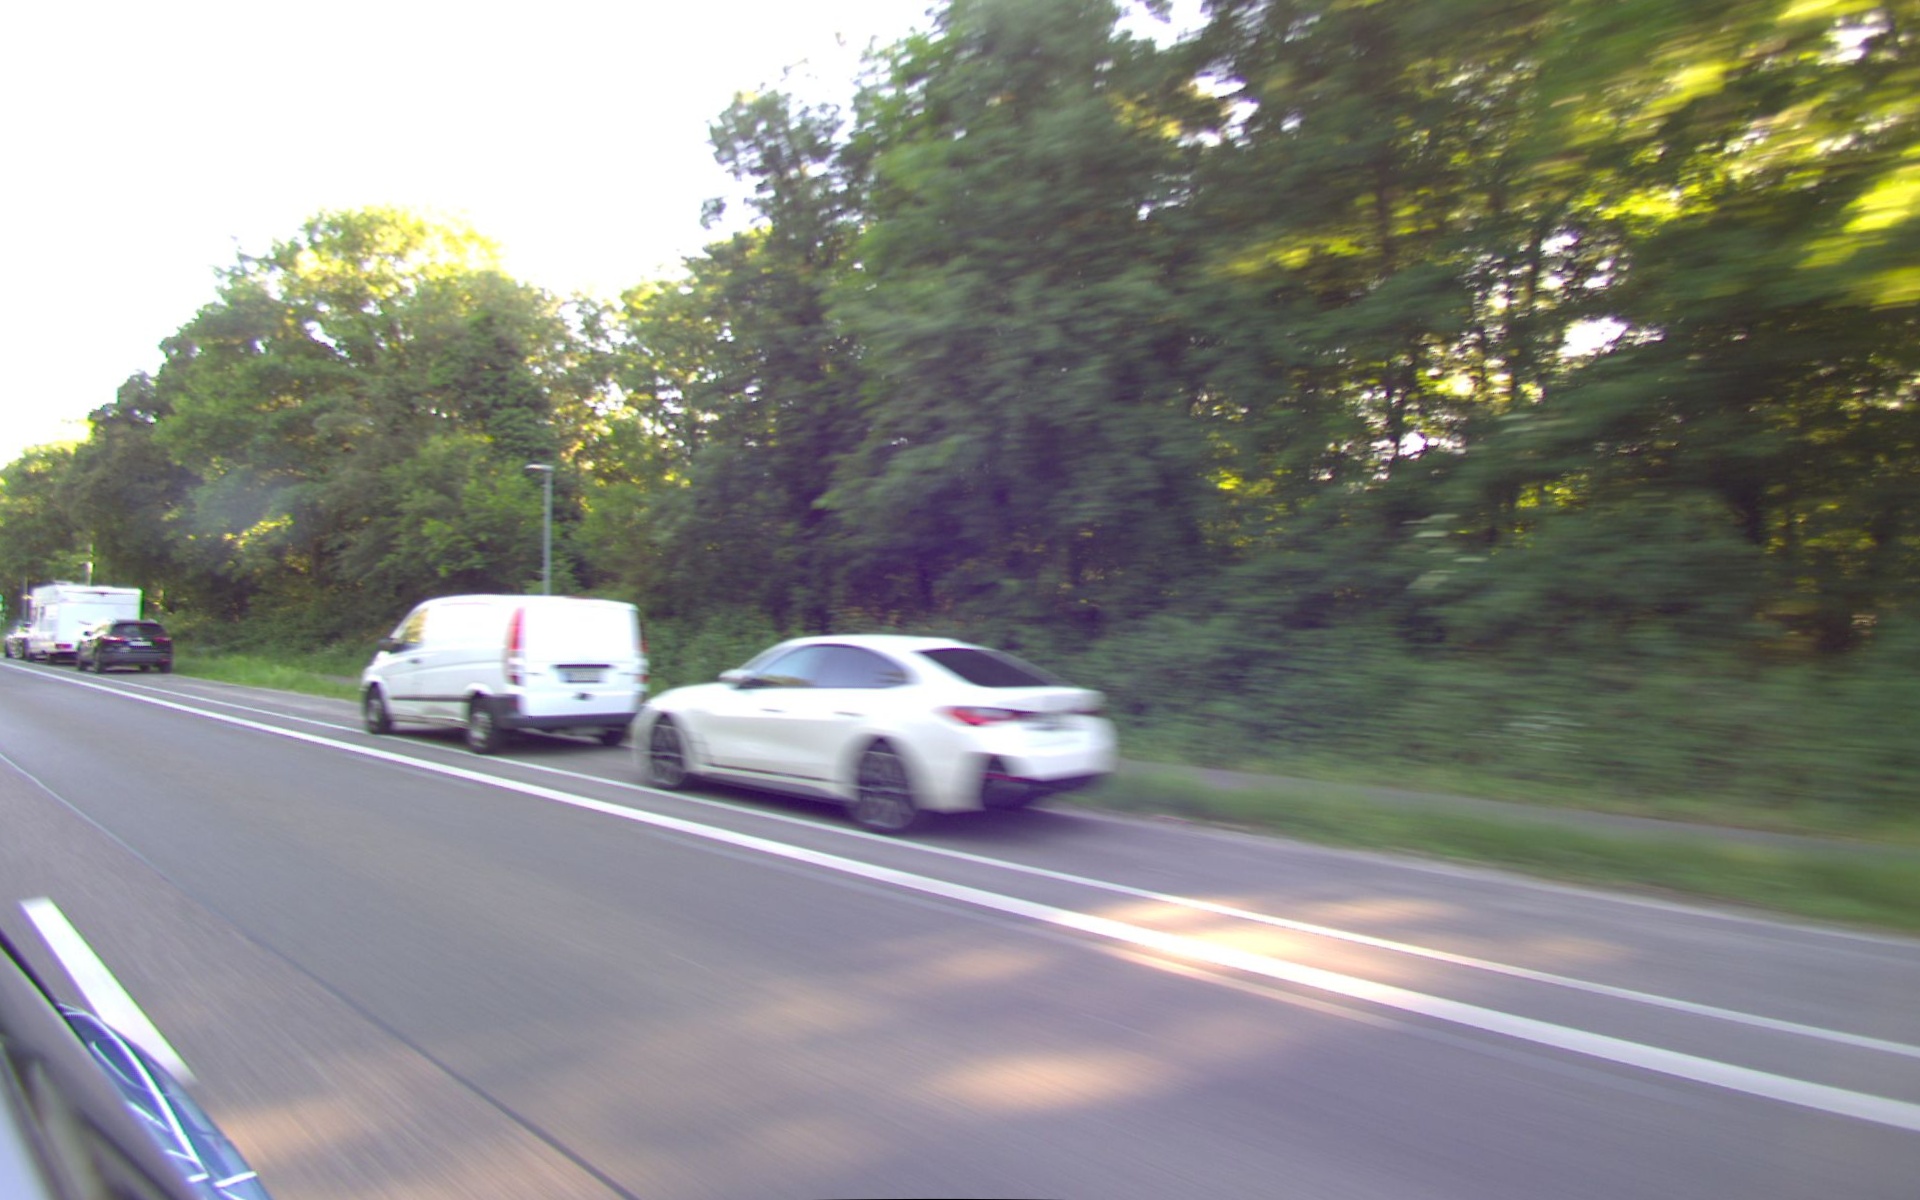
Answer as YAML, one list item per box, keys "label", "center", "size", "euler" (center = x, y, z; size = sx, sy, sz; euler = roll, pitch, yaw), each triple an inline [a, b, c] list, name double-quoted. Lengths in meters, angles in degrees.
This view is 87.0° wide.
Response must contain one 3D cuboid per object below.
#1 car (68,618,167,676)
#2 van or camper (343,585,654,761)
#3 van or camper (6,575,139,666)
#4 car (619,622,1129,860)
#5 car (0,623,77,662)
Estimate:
- label: "car"
  center: [-25.560, 1.398, 30.662]
  size: [4.271, 1.644, 1.628]
  euler: [-1, -4, 41]
- label: "van or camper"
  center: [-6.203, 0.862, 13.315]
  size: [4.853, 1.926, 1.817]
  euler: [-1, -3, 41]
- label: "van or camper"
  center: [-32.013, 0.785, 36.418]
  size: [7.103, 2.993, 2.292]
  euler: [-1, -4, 39]
- label: "car"
  center: [-0.941, 0.989, 8.788]
  size: [4.522, 1.552, 1.756]
  euler: [-1, -3, 41]
- label: "car"
  center: [-37.581, 1.709, 41.035]
  size: [4.675, 1.487, 1.809]
  euler: [-1, -3, 38]
